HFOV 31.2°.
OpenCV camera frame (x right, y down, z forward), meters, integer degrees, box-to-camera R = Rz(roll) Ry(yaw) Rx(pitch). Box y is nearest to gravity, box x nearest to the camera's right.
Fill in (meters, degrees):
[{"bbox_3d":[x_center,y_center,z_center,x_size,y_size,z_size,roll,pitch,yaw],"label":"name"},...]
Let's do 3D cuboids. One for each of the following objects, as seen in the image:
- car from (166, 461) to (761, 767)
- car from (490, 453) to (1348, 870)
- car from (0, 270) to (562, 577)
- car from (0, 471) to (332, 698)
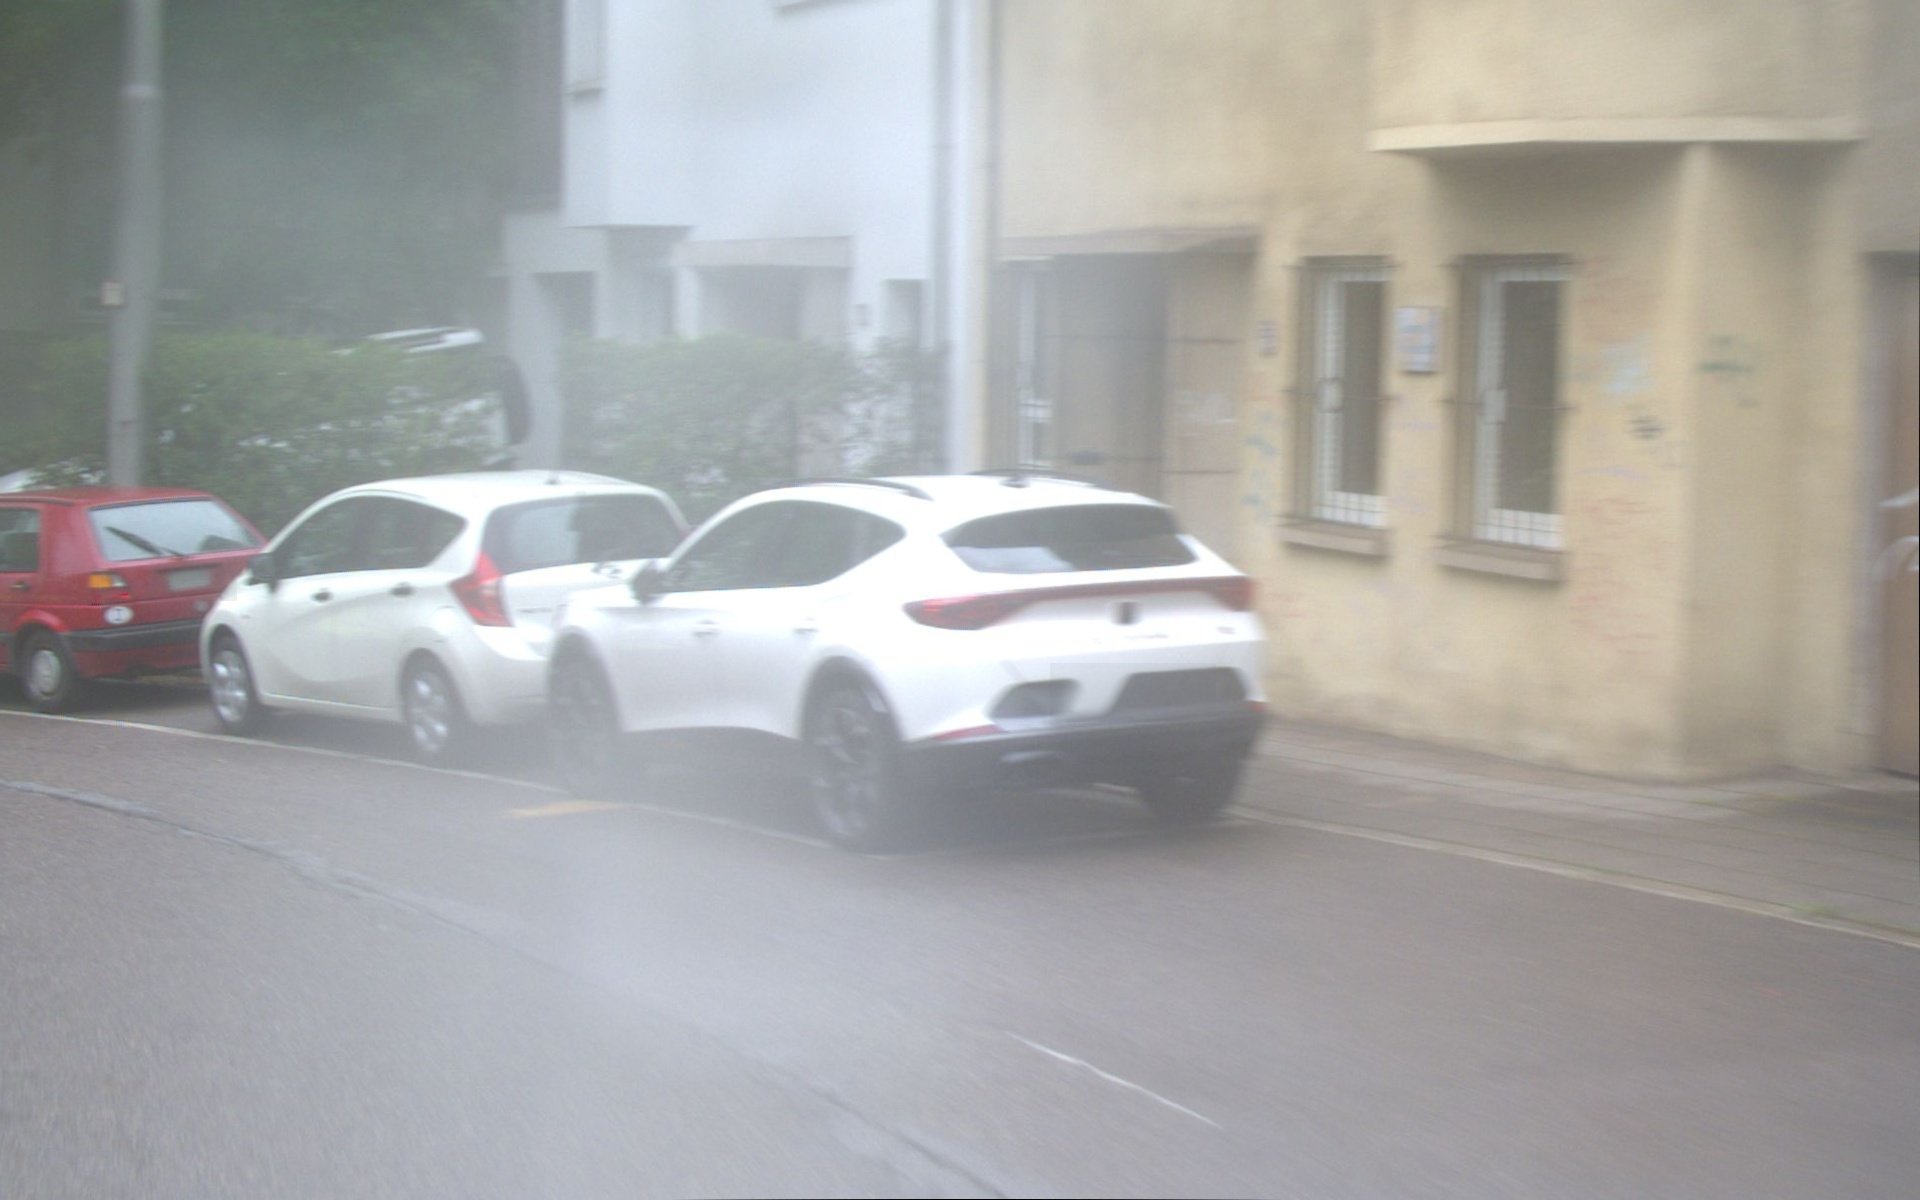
[{"bbox_3d":[-2.919,-0.001,19.613,1.765,1.509,3.823,-4,4,-35],"label":"car"},{"bbox_3d":[-0.362,0.179,15.512,1.914,1.533,4.415,-3,3,-30],"label":"car"},{"bbox_3d":[-5.990,-1.593,30.120,4.396,1.835,2.001,-12,8,-18],"label":"car"},{"bbox_3d":[-6.320,-0.120,23.496,4.192,1.362,1.781,0,3,43],"label":"car"}]
